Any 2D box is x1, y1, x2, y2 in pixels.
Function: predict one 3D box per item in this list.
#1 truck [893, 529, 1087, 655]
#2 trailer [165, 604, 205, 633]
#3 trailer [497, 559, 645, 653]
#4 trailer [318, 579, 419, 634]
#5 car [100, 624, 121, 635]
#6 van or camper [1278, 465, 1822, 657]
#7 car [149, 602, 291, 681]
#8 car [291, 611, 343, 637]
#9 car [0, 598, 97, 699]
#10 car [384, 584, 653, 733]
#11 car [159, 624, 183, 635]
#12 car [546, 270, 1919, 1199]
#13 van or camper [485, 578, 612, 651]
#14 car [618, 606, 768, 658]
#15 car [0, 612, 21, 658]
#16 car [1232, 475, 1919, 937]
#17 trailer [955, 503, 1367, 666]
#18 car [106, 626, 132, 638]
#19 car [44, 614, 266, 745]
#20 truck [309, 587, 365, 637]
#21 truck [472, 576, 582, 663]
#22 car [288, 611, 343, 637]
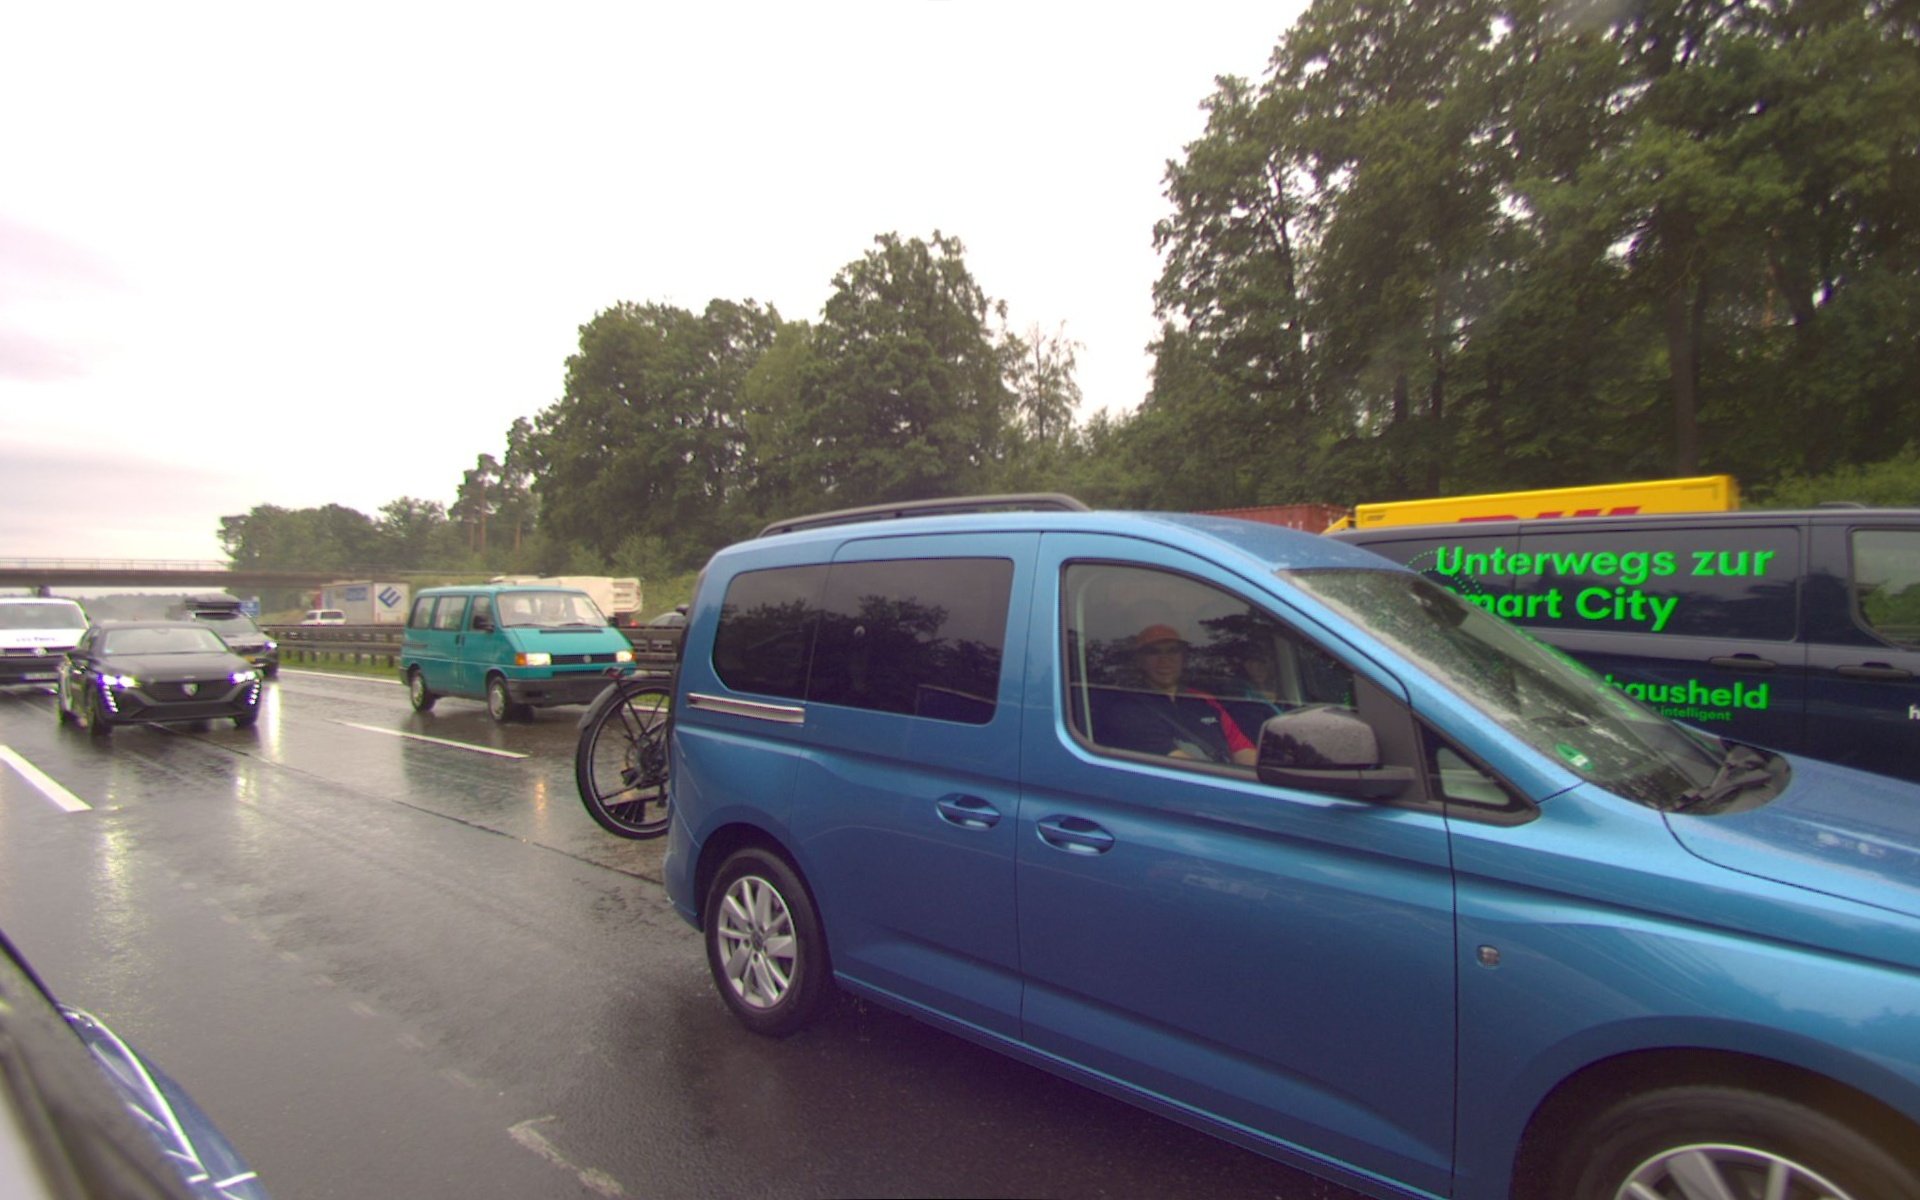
[{"bbox_3d":[0.904,-0.183,34.076,6.261,3.847,2.676,-2,-1,41],"label":"truck"},{"bbox_3d":[-108.546,2.625,141.639,2.989,3.847,13.570,0,-1,-44],"label":"trailer"},{"bbox_3d":[-18.100,0.333,46.650,9.419,3.984,2.352,-1,-2,42],"label":"trailer"},{"bbox_3d":[-45.938,0.594,78.242,13.958,3.984,2.690,-1,-2,43],"label":"trailer"},{"bbox_3d":[-121.318,4.176,144.548,1.970,1.519,4.711,1,-2,-43],"label":"car"},{"bbox_3d":[11.011,-0.546,19.750,8.781,3.001,2.813,-1,-1,41],"label":"van or camper"},{"bbox_3d":[-18.981,1.008,25.874,4.604,1.839,1.956,-1,0,41],"label":"car"},{"bbox_3d":[-46.506,1.743,73.156,5.039,1.783,1.972,-2,-2,43],"label":"car"},{"bbox_3d":[-19.476,0.971,21.002,4.768,1.894,1.967,-2,-1,44],"label":"car"},{"bbox_3d":[-6.715,0.769,15.123,4.758,1.877,1.890,-1,0,42],"label":"car"},{"bbox_3d":[-96.235,3.629,123.466,3.756,1.314,1.683,-2,-1,42],"label":"car"},{"bbox_3d":[0.880,0.512,3.450,5.013,1.926,2.246,-2,-1,41],"label":"car"},{"bbox_3d":[-15.680,0.596,38.349,6.121,2.567,2.173,-2,-2,44],"label":"van or camper"},{"bbox_3d":[-6.905,0.808,25.932,4.206,1.228,1.679,-2,-1,42],"label":"car"},{"bbox_3d":[-35.061,1.272,36.109,4.767,1.572,1.968,-2,-1,43],"label":"car"},{"bbox_3d":[4.332,0.449,5.366,5.240,1.958,1.971,-1,0,41],"label":"car"},{"bbox_3d":[5.337,-0.301,30.108,12.367,4.056,2.592,-1,0,41],"label":"trailer"},{"bbox_3d":[-105.892,4.065,127.477,4.707,1.519,1.971,-2,-2,43],"label":"car"},{"bbox_3d":[-11.149,0.956,13.891,4.468,1.516,1.825,-1,-2,44],"label":"car"},{"bbox_3d":[-51.085,1.006,82.986,4.891,3.984,2.674,-1,-2,43],"label":"truck"},{"bbox_3d":[-21.231,0.977,49.451,6.534,3.984,2.352,-1,-2,42],"label":"truck"},{"bbox_3d":[-46.517,1.719,73.000,5.220,1.839,1.956,-1,0,41],"label":"car"}]
